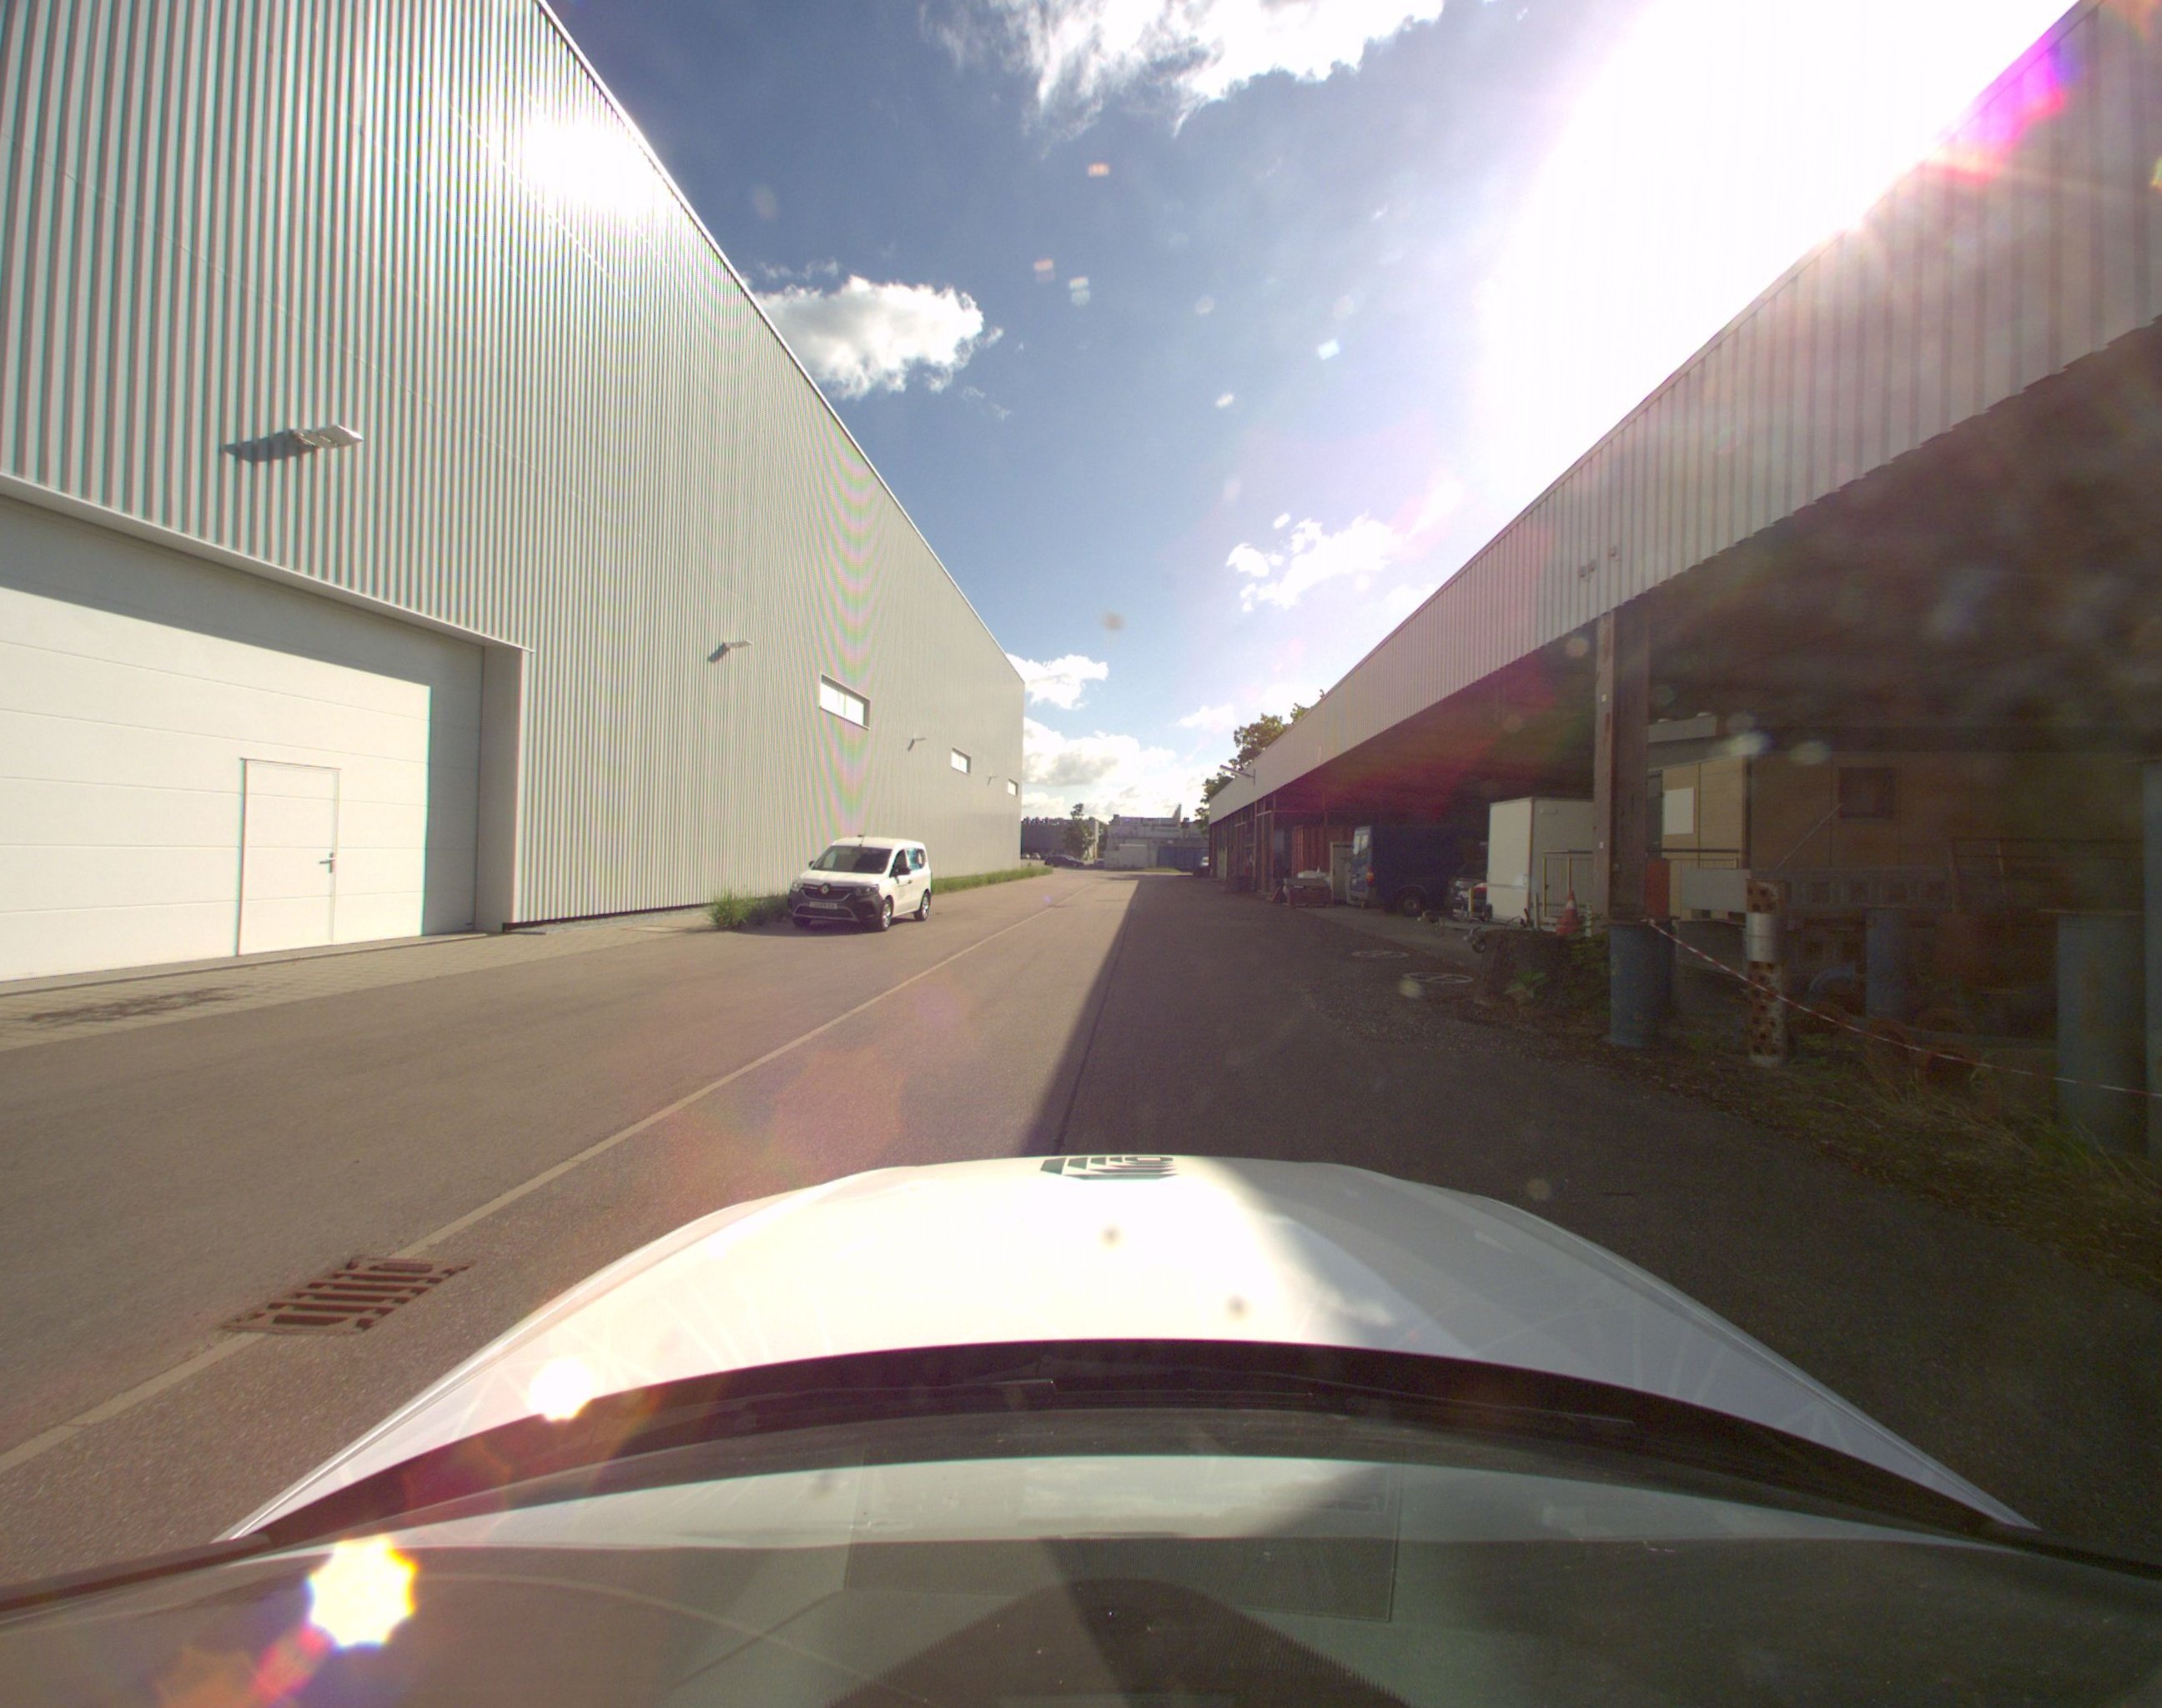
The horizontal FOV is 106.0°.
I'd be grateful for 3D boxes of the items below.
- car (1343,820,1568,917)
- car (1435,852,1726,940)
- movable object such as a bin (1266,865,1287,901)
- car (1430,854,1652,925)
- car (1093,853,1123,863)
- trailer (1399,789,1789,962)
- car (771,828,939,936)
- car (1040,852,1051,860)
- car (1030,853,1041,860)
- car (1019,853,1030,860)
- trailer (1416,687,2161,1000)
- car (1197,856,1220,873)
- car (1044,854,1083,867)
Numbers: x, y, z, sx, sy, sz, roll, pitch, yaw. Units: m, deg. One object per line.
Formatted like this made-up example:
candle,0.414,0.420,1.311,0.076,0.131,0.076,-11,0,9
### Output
car,9.599,0.354,21.204,4.956,2.325,2.003,1,0,4
car,9.104,0.735,15.121,4.312,1.496,1.778,0,0,2
movable object such as a bin,6.500,0.949,27.102,0.578,1.164,1.241,0,0,9
car,10.160,0.758,18.191,3.974,1.472,1.788,0,0,-1
car,4.154,0.645,126.452,4.504,1.508,1.911,1,0,5
trailer,7.620,0.286,12.570,4.784,2.391,1.831,0,0,9
car,-4.463,0.507,16.877,1.882,1.845,4.363,3,0,4
car,-8.612,0.503,195.340,2.184,1.736,4.004,-1,-1,4
car,-11.015,0.576,197.214,2.184,1.736,4.004,-1,-1,4
car,-13.611,0.631,197.039,1.985,1.736,4.004,-1,-1,4
trailer,9.659,-0.113,9.887,9.992,3.216,2.857,0,0,4
car,13.355,1.063,85.356,1.985,1.585,4.178,1,1,4
car,-2.166,0.751,99.177,4.503,1.508,1.912,0,0,6
